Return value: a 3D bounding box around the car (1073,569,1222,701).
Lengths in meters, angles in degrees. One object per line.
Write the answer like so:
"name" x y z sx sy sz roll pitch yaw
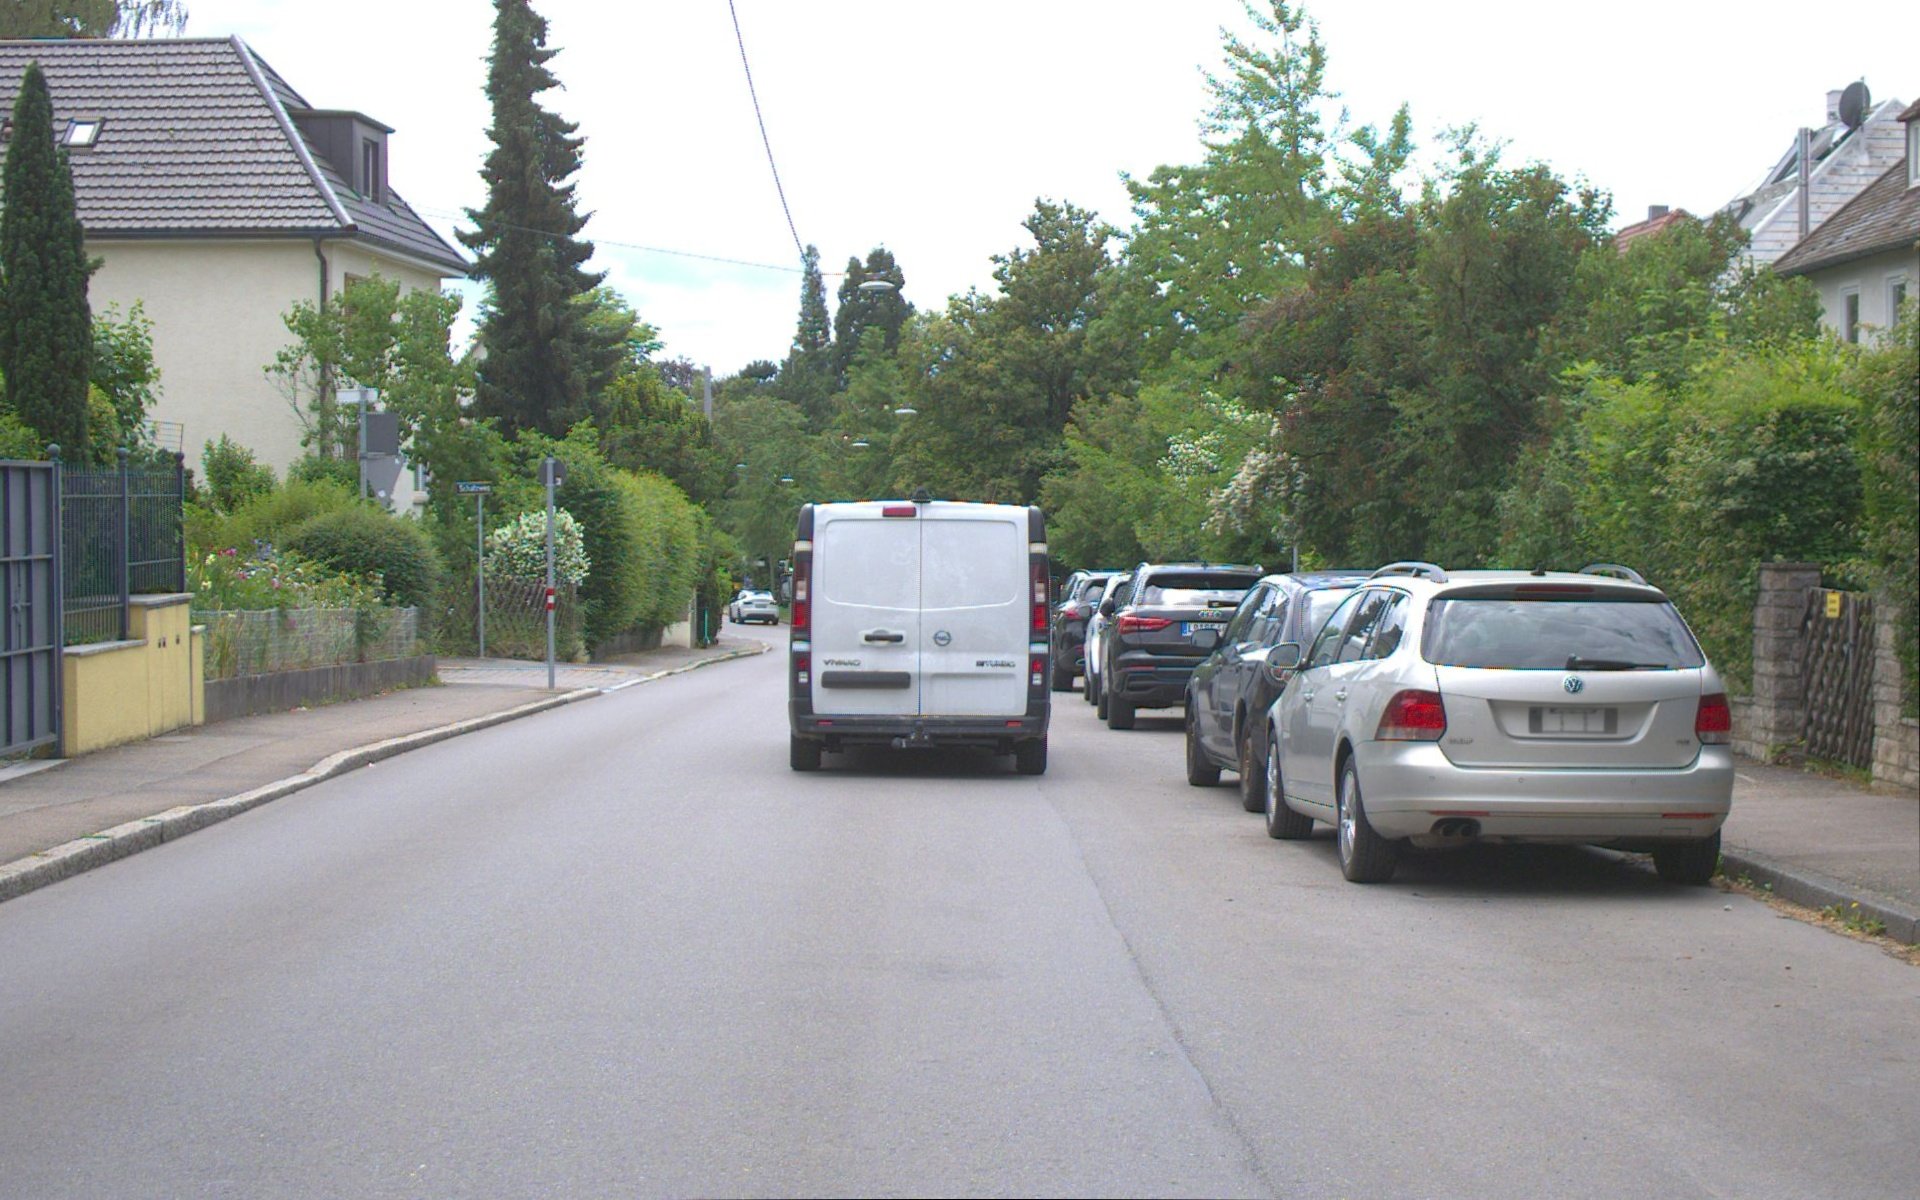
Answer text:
"car" 2.206 0.405 41.053 1.598 1.505 3.013 0 0 0

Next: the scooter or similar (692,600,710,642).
"scooter or similar" -7.235 0.578 96.024 0.391 1.167 1.270 2 0 -2

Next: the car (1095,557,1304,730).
"car" 2.283 0.396 33.702 1.801 1.586 4.141 0 0 1

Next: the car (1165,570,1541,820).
"car" 2.436 0.542 22.274 1.716 1.455 4.141 0 1 -4

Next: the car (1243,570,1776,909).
"car" 2.586 0.595 17.219 1.756 1.472 4.358 0 1 -3

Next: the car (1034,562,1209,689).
"car" 2.174 0.344 47.441 1.950 1.621 4.377 2 0 -3

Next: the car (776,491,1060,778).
"car" -0.393 0.216 25.885 1.930 1.957 4.402 1 1 -3
